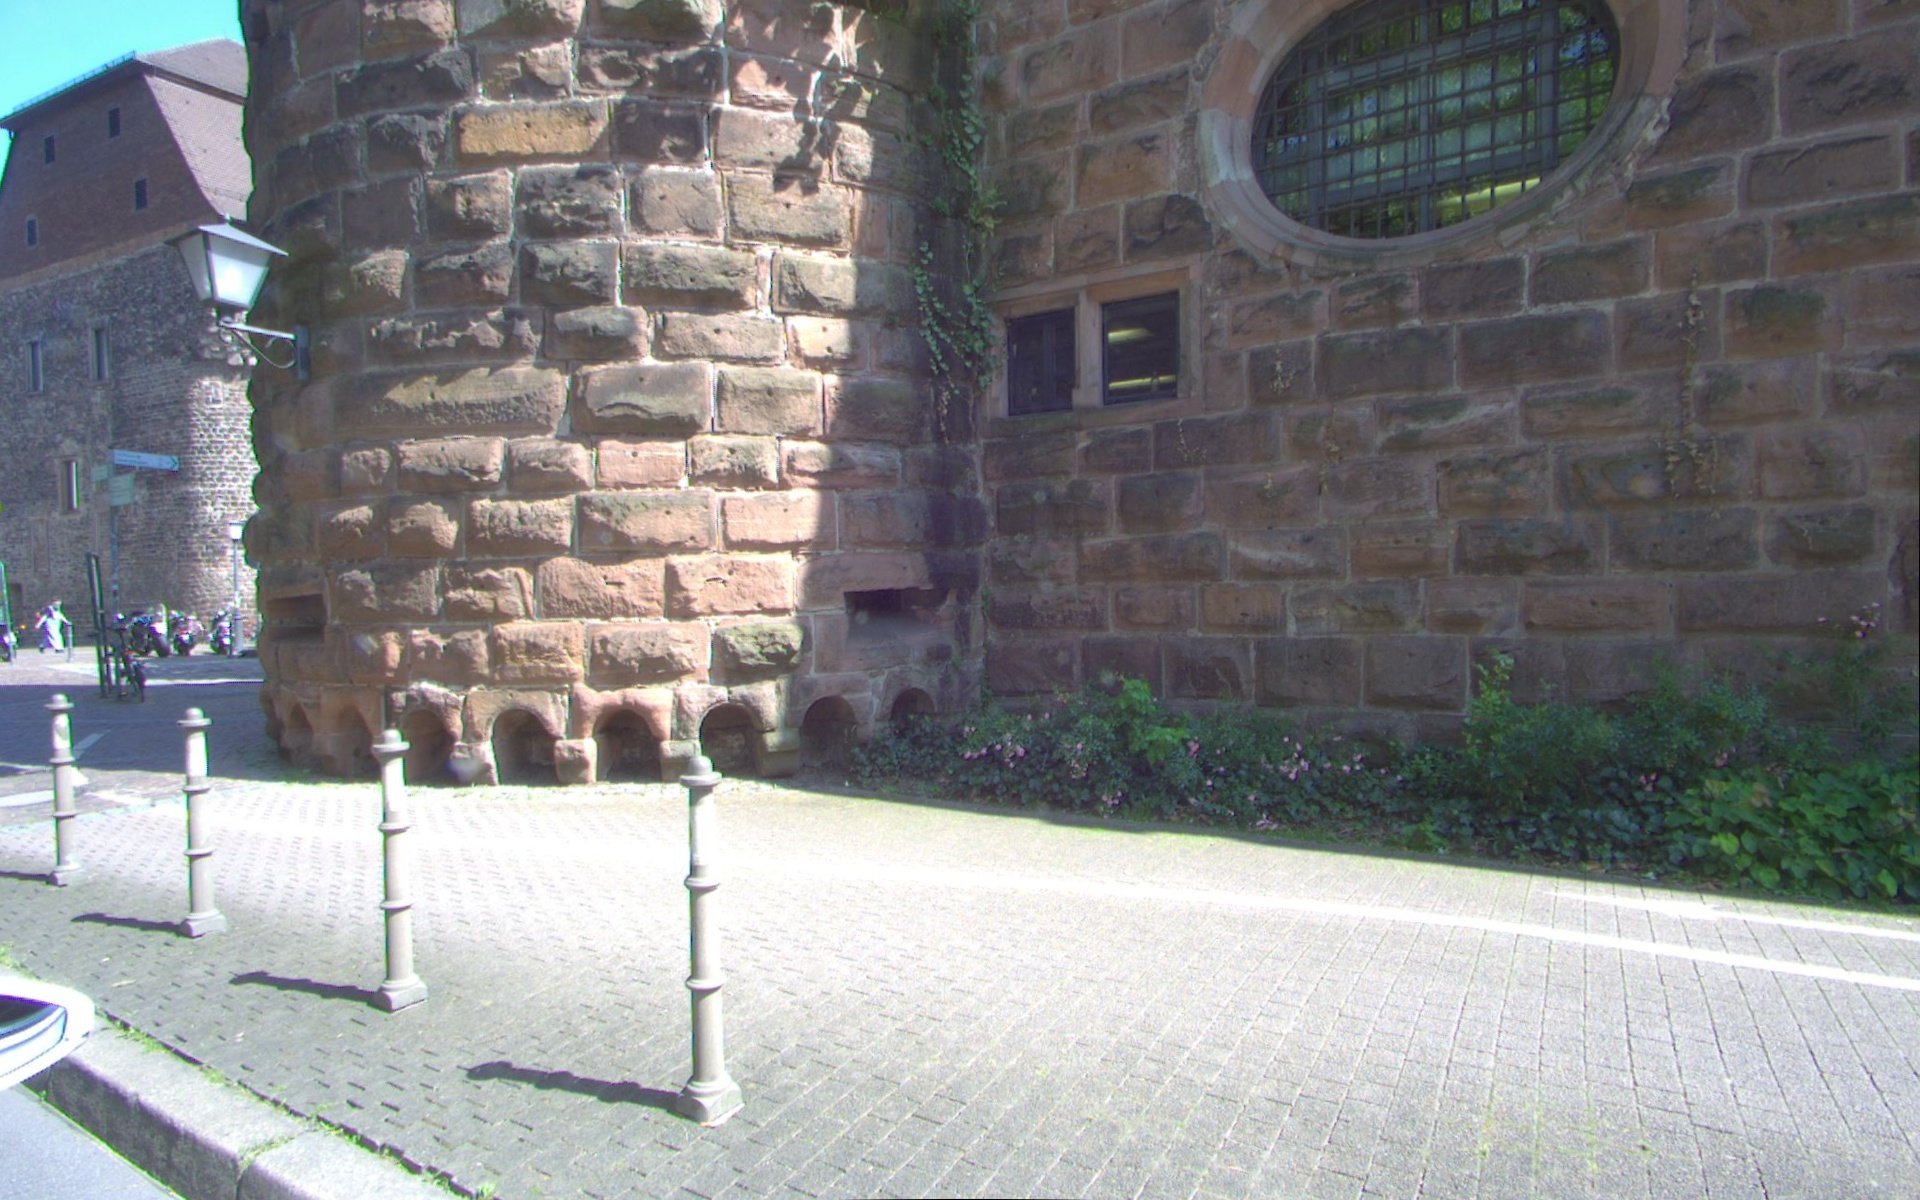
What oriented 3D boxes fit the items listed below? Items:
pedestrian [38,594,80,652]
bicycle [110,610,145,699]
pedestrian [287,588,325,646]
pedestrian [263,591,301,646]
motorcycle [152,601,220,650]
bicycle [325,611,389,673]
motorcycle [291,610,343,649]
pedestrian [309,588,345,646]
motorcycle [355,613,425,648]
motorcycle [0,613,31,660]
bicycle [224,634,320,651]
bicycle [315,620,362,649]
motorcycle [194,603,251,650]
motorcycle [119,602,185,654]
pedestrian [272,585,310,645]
[{"bbox_3d":[-26.767,0.675,29.767,0.799,1.684,0.652,-1,1,-34],"label":"pedestrian"},{"bbox_3d":[-12.109,0.760,14.555,1.750,1.220,0.192,0,0,44],"label":"bicycle"},{"bbox_3d":[-21.973,0.577,33.638,0.805,1.908,0.670,0,-1,8],"label":"pedestrian"},{"bbox_3d":[-22.939,0.634,33.867,0.830,1.826,0.654,0,0,3],"label":"pedestrian"},{"bbox_3d":[-20.413,0.685,26.403,2.280,1.251,0.674,-1,-2,32],"label":"motorcycle"},{"bbox_3d":[-11.960,0.814,19.835,1.707,1.178,0.445,0,1,36],"label":"bicycle"},{"bbox_3d":[-18.093,0.833,28.173,1.814,1.086,0.506,-1,-2,32],"label":"motorcycle"},{"bbox_3d":[-21.775,0.594,34.463,0.805,1.944,0.670,0,-1,12],"label":"pedestrian"},{"bbox_3d":[-17.924,0.974,31.505,0.474,1.067,1.858,-1,-2,40],"label":"motorcycle"},{"bbox_3d":[-22.230,0.825,23.075,2.453,1.026,0.565,0,1,32],"label":"motorcycle"},{"bbox_3d":[-17.559,1.084,25.588,1.916,0.386,0.909,0,-2,-44],"label":"bicycle"},{"bbox_3d":[-18.387,1.008,29.614,1.898,0.831,0.353,0,-1,32],"label":"bicycle"},{"bbox_3d":[-20.053,0.734,27.213,2.002,1.251,0.545,-1,-2,32],"label":"motorcycle"},{"bbox_3d":[-20.587,0.717,25.503,2.169,1.282,0.654,-1,-1,32],"label":"motorcycle"},{"bbox_3d":[-23.248,0.535,34.796,0.861,2.039,0.732,0,-1,-8],"label":"pedestrian"}]
